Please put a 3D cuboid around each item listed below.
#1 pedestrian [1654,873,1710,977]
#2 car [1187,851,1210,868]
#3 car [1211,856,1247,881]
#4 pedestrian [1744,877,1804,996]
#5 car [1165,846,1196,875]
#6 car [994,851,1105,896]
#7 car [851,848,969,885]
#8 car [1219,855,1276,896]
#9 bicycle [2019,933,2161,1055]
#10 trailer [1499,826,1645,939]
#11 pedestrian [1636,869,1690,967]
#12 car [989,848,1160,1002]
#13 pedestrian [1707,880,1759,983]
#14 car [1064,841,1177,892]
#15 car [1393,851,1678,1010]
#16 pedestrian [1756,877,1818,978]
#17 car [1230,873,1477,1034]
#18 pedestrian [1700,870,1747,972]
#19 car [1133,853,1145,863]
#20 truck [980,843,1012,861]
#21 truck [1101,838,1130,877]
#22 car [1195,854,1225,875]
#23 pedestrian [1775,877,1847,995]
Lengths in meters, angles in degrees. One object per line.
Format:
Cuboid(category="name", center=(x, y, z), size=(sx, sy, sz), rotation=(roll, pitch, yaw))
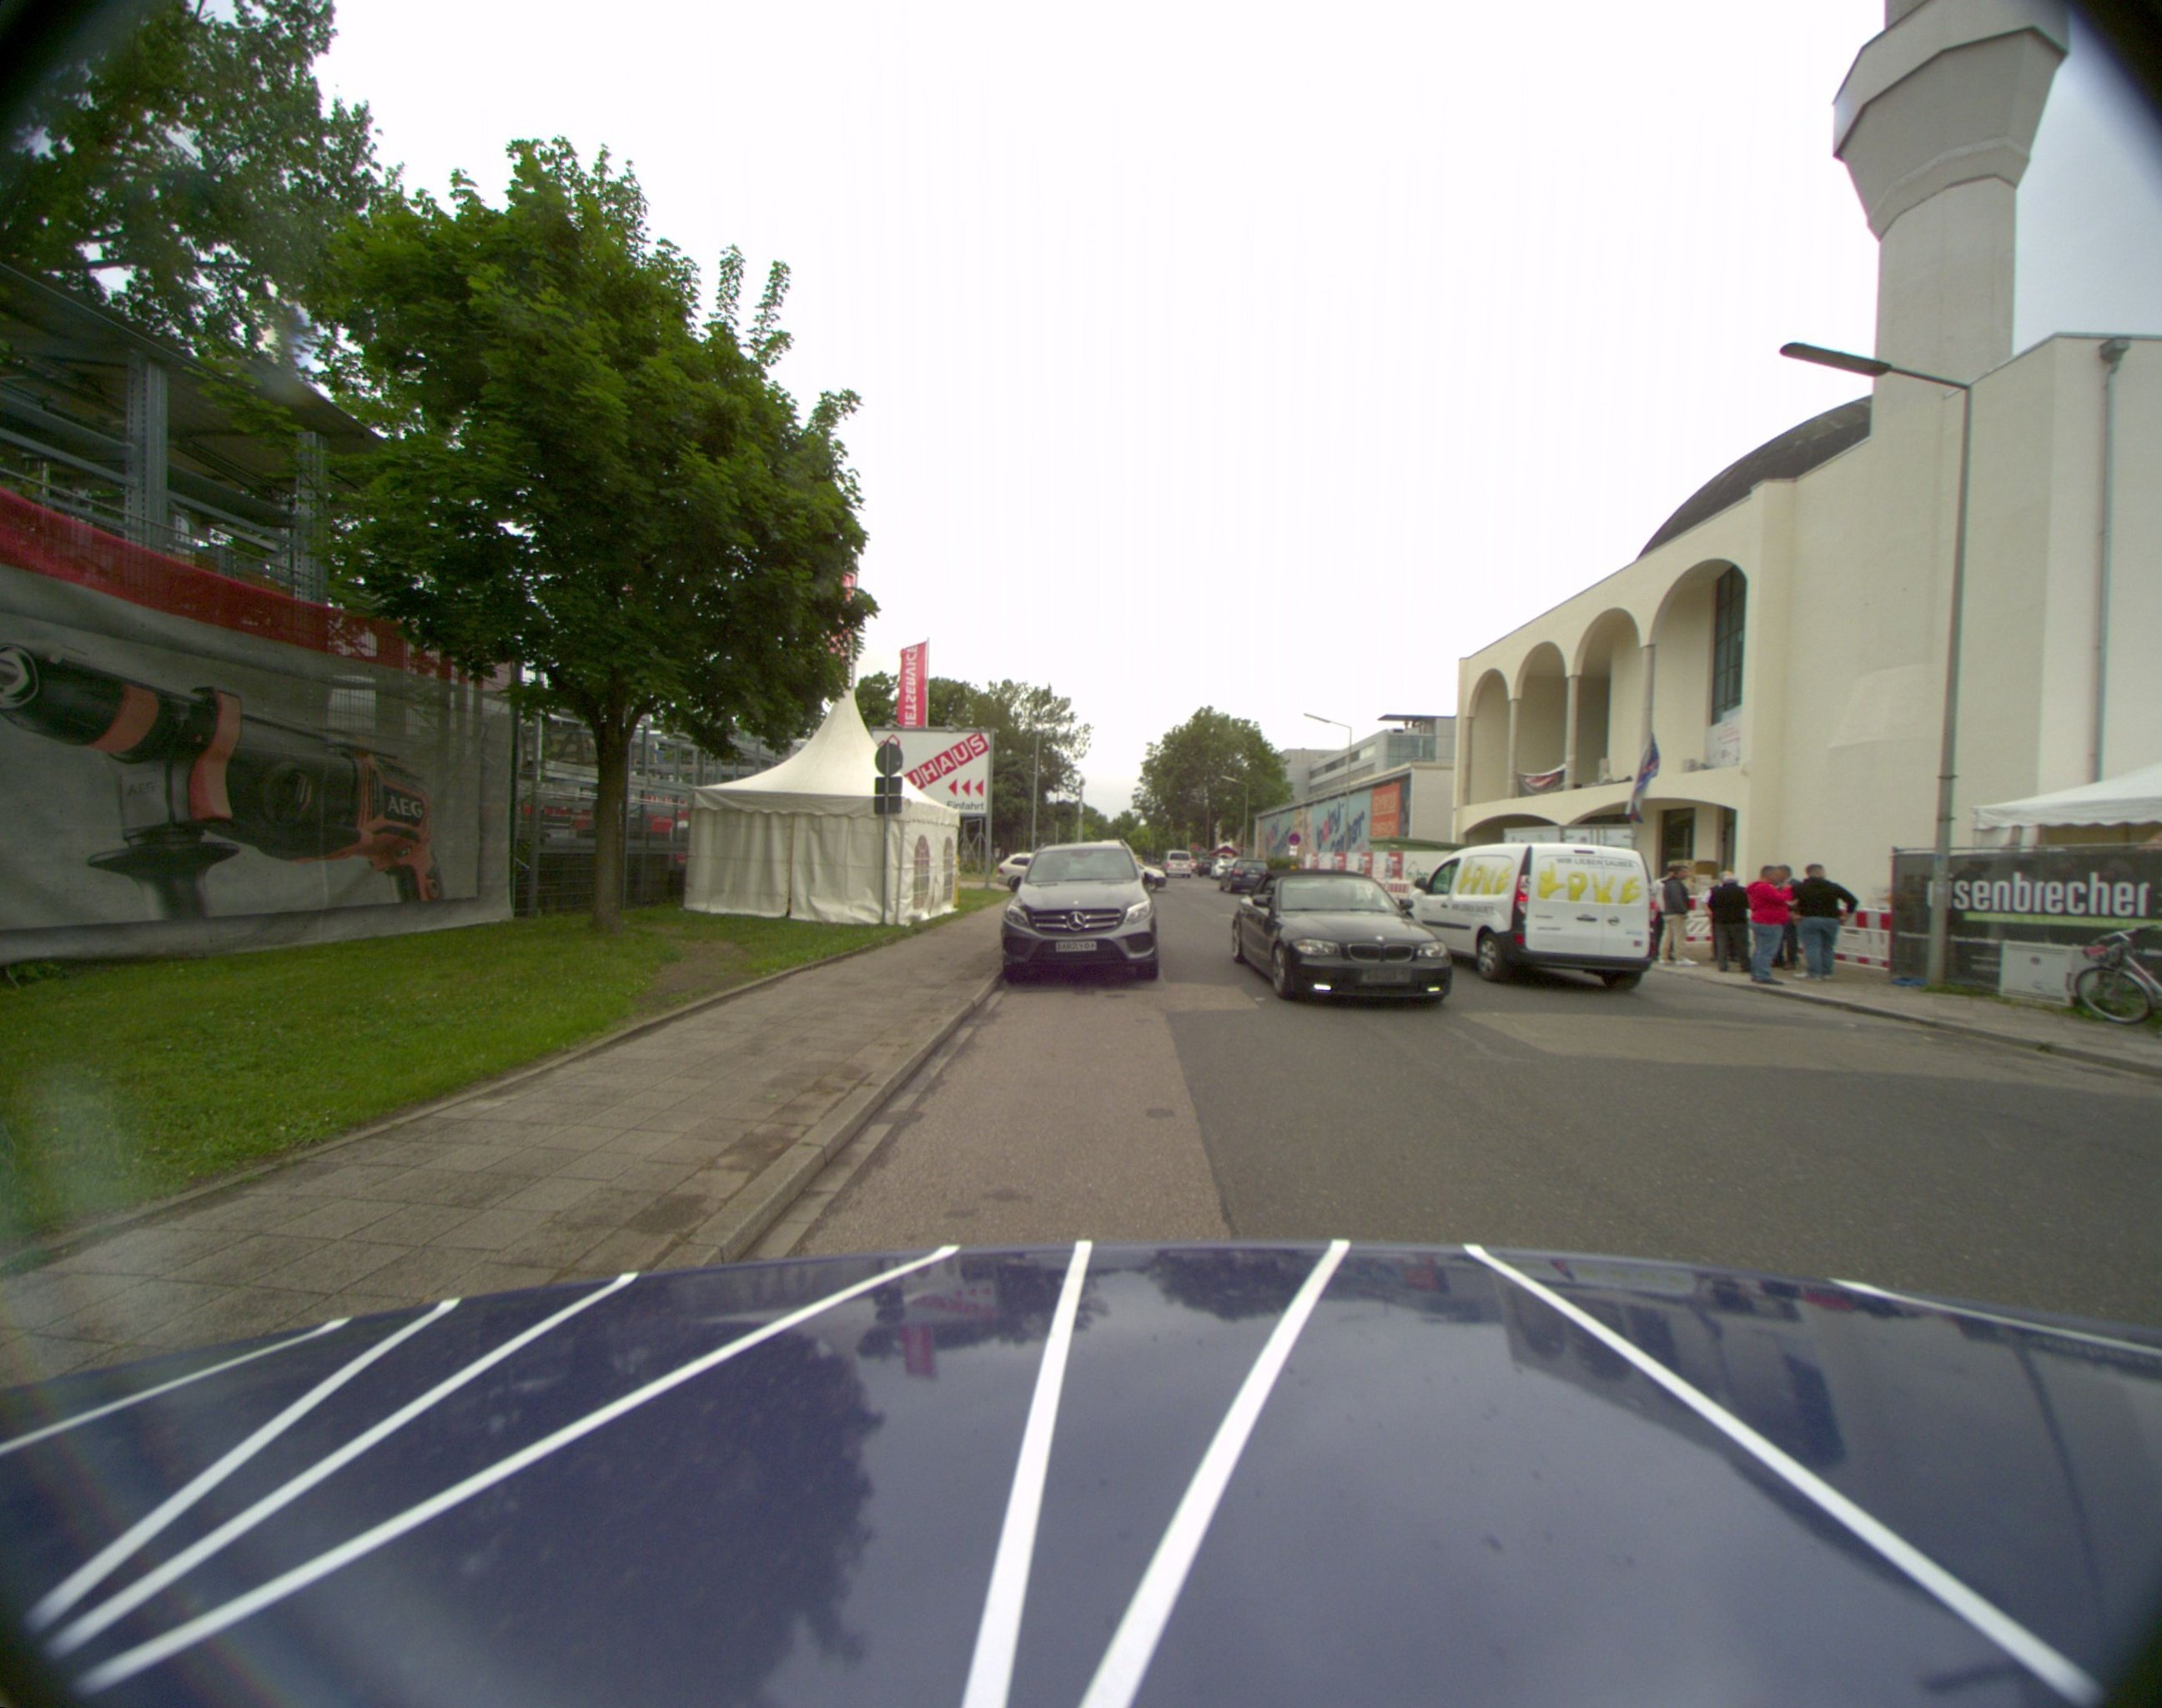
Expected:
Cuboid(category="pedestrian", center=(10.517, 1.217, 13.297), size=(0.689, 1.739, 0.492), rotation=(3, 1, 42))
Cuboid(category="car", center=(12.692, 0.575, 82.320), size=(1.928, 1.565, 4.150), rotation=(5, 1, 4))
Cuboid(category="car", center=(10.768, 1.008, 55.521), size=(1.928, 1.565, 4.150), rotation=(5, 1, 4))
Cuboid(category="pedestrian", center=(10.131, 1.186, 11.120), size=(0.512, 1.682, 0.534), rotation=(-2, -2, 32))
Cuboid(category="car", center=(7.473, 0.481, 57.490), size=(1.931, 2.002, 4.956), rotation=(2, 1, 4))
Cuboid(category="car", center=(-1.138, 0.673, 28.104), size=(3.681, 1.575, 1.779), rotation=(1, 1, 22))
Cuboid(category="car", center=(-7.207, 0.505, 32.278), size=(4.490, 1.420, 1.940), rotation=(1, 2, 5))
Cuboid(category="car", center=(7.272, 0.900, 33.523), size=(1.733, 1.562, 3.947), rotation=(3, 1, 3))
Cuboid(category="bicycle", center=(11.278, 1.498, 8.031), size=(0.545, 1.071, 1.902), rotation=(2, 1, 9))
Cuboid(category="trailer", center=(12.490, 0.664, 19.565), size=(1.801, 2.591, 3.192), rotation=(2, 1, 6))
Cuboid(category="pedestrian", center=(10.793, 1.164, 14.089), size=(0.689, 1.739, 0.492), rotation=(3, 1, 42))
Cuboid(category="car", center=(0.067, 0.806, 10.869), size=(1.913, 1.731, 4.481), rotation=(-1, 0, 4))
Cuboid(category="pedestrian", center=(10.610, 1.231, 12.364), size=(0.570, 1.602, 0.492), rotation=(3, 1, 42))
Cuboid(category="car", center=(1.646, 0.517, 32.248), size=(4.385, 1.797, 1.798), rotation=(4, 1, -11))
Cuboid(category="car", center=(6.035, 0.862, 10.754), size=(1.693, 1.750, 4.136), rotation=(2, 0, 4))
Cuboid(category="pedestrian", center=(11.615, 1.198, 12.515), size=(0.540, 1.602, 0.491), rotation=(0, 1, 8))
Cuboid(category="car", center=(2.983, 0.992, 9.289), size=(1.749, 1.351, 4.138), rotation=(0, 1, 3))
Cuboid(category="pedestrian", center=(11.353, 1.161, 13.428), size=(0.492, 1.739, 0.527), rotation=(1, 1, -42))
Cuboid(category="car", center=(9.588, 0.583, 125.397), size=(1.928, 1.565, 4.001), rotation=(3, 0, 4))
Cuboid(category="truck", center=(-11.860, -0.319, 106.372), size=(1.994, 2.383, 4.009), rotation=(3, 1, 43))
Cuboid(category="truck", center=(2.421, 0.222, 53.368), size=(1.852, 2.597, 4.000), rotation=(-1, 0, 3))
Cuboid(category="car", center=(10.664, 0.847, 63.219), size=(1.928, 1.565, 4.150), rotation=(5, 1, 4))
Cuboid(category="pedestrian", center=(11.048, 1.208, 11.501), size=(0.689, 1.707, 0.694), rotation=(0, -2, -43))
